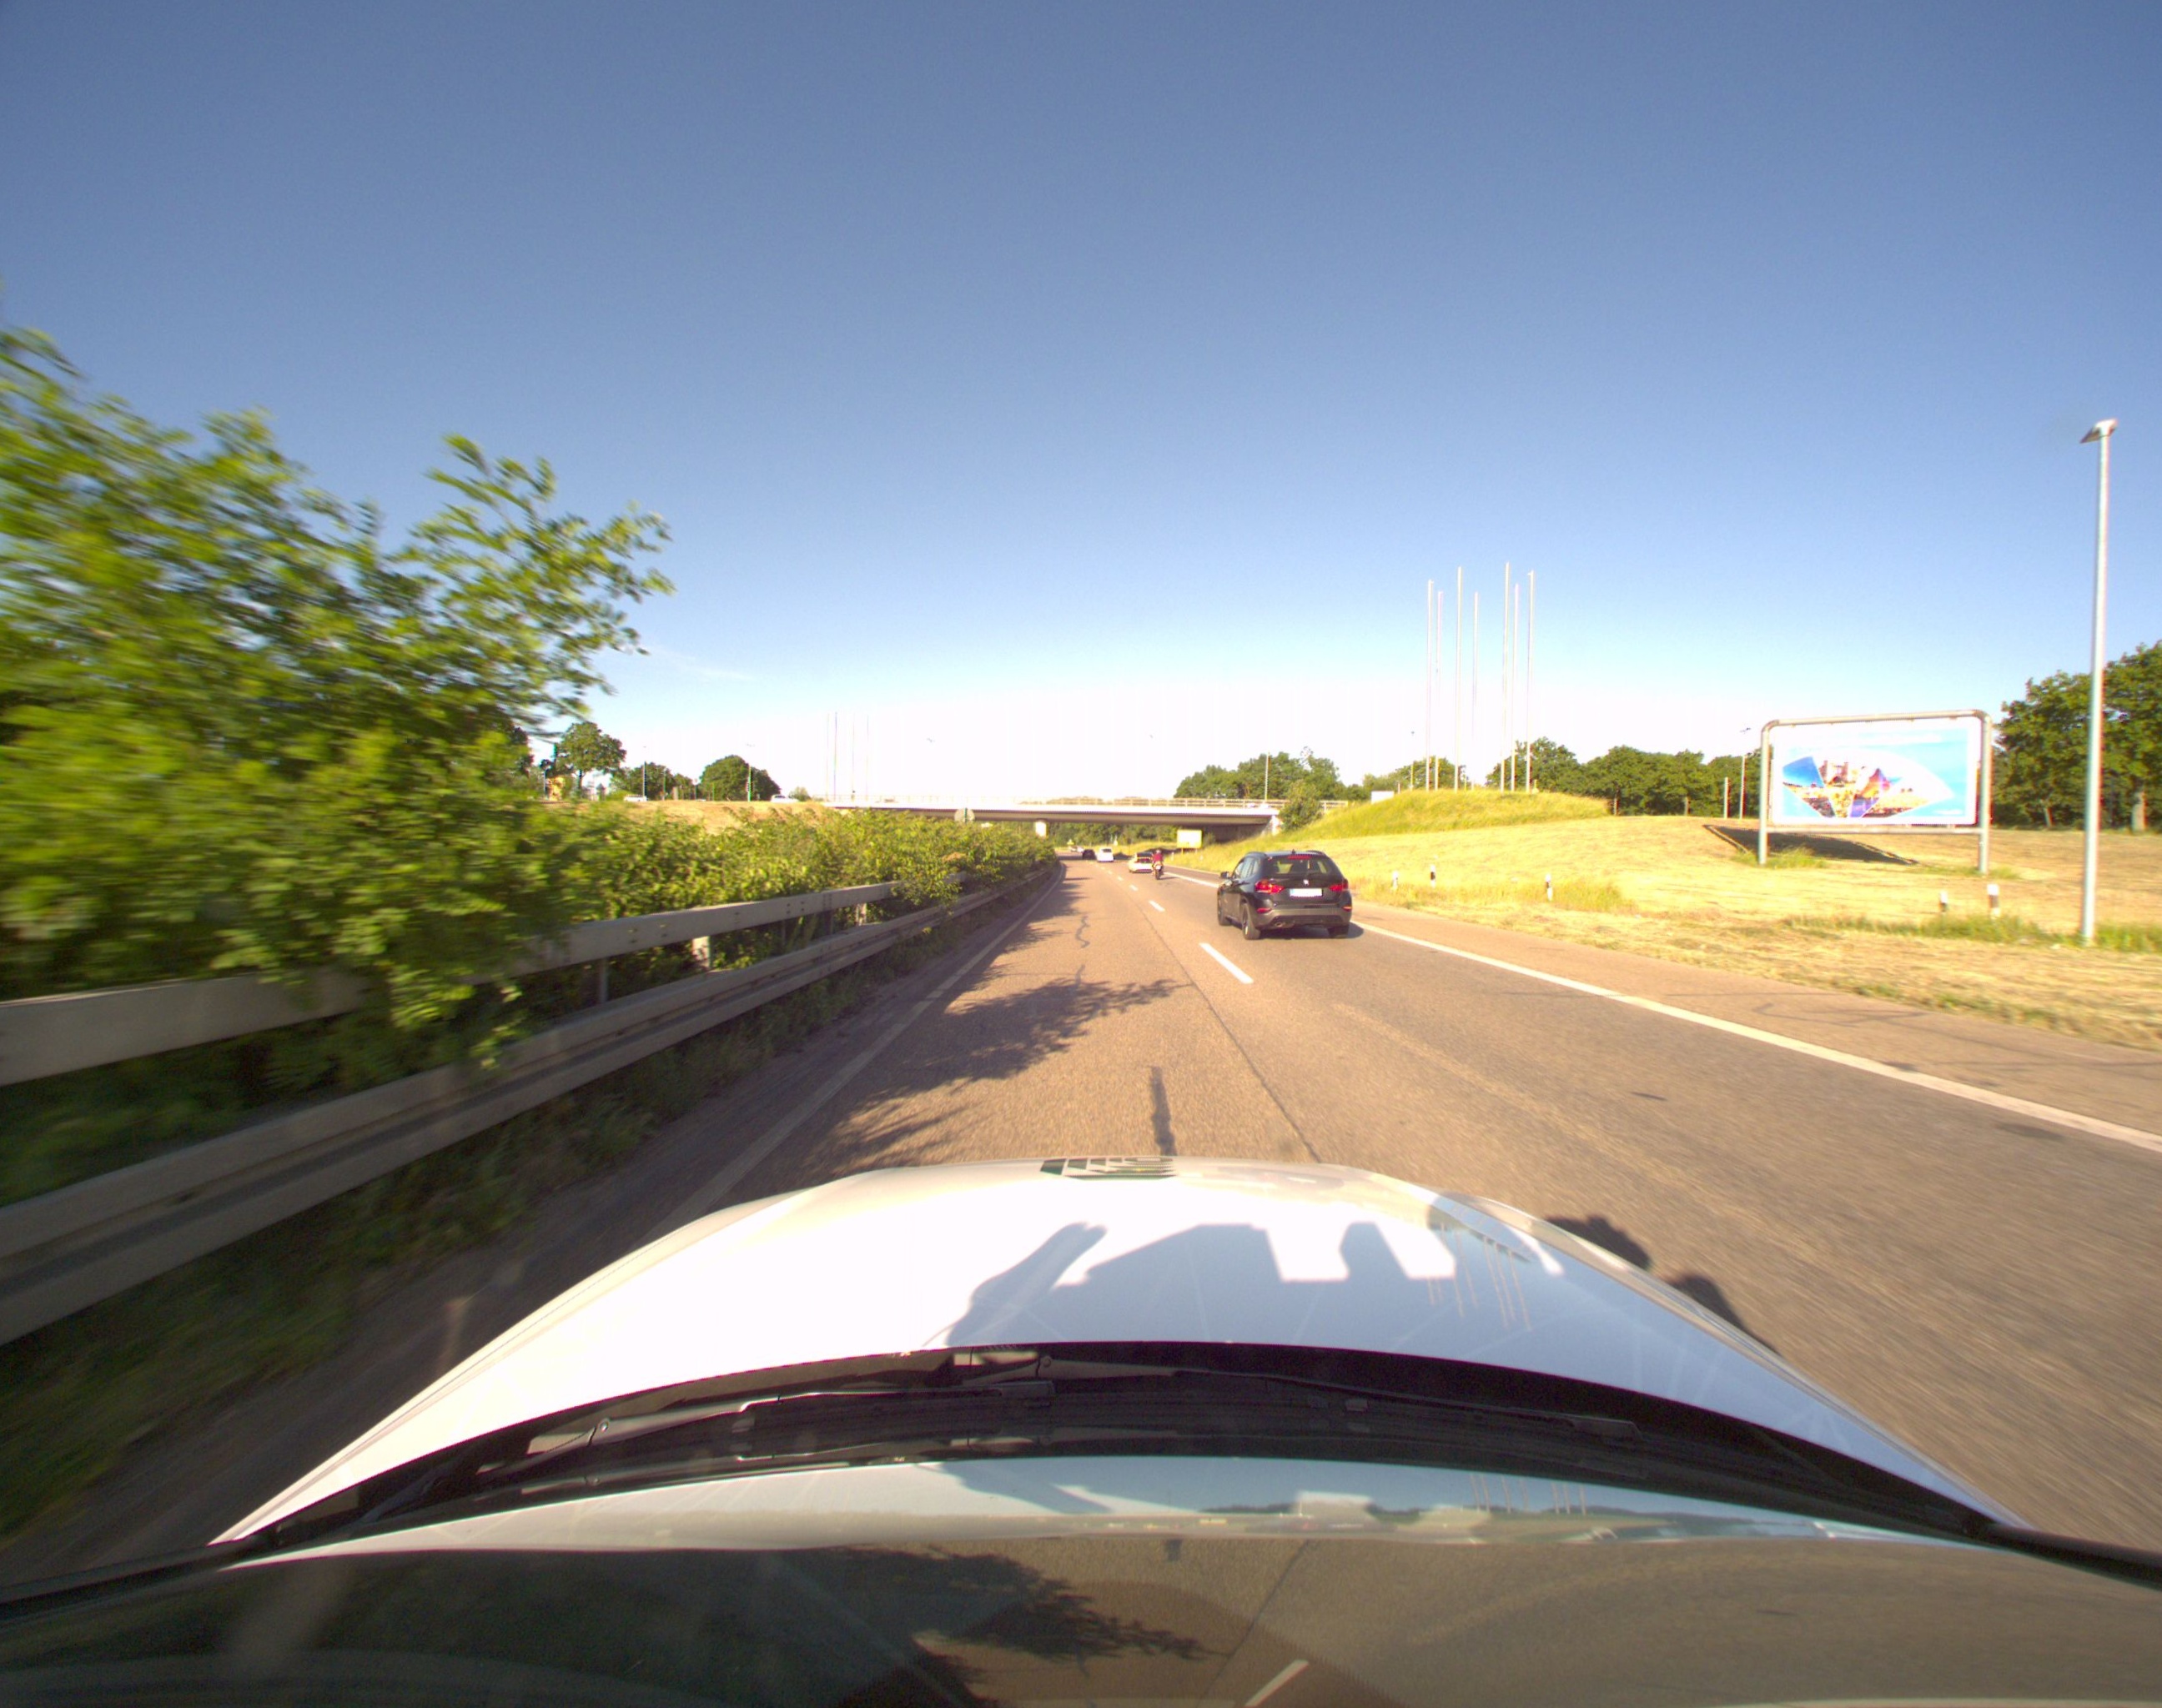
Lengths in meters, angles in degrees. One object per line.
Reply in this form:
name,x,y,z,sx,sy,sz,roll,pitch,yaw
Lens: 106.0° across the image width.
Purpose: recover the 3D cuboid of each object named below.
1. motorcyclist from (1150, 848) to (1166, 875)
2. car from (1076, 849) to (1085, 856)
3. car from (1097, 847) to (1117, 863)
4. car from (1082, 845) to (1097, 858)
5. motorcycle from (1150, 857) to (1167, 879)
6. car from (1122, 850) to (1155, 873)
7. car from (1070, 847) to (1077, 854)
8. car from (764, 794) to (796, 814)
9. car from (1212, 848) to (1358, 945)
motorcyclist,4.202,0.423,44.533,0.813,1.447,1.094,0,0,3
car,-0.073,-0.311,189.063,1.865,1.685,3.995,1,0,-3
car,3.016,0.095,95.345,1.893,1.767,3.996,-2,0,-3
car,1.172,-0.326,116.815,1.892,1.767,3.997,-1,1,-3
motorcycle,4.204,0.745,44.441,0.813,1.069,2.839,0,0,4
car,4.003,0.509,57.231,1.892,1.471,3.996,-1,0,-3
car,-1.907,-0.787,206.812,1.864,1.685,3.997,1,0,-2
car,-45.769,-7.572,123.926,4.272,2.805,2.092,1,1,21
car,3.660,0.671,15.425,1.693,1.506,4.580,-1,1,1
